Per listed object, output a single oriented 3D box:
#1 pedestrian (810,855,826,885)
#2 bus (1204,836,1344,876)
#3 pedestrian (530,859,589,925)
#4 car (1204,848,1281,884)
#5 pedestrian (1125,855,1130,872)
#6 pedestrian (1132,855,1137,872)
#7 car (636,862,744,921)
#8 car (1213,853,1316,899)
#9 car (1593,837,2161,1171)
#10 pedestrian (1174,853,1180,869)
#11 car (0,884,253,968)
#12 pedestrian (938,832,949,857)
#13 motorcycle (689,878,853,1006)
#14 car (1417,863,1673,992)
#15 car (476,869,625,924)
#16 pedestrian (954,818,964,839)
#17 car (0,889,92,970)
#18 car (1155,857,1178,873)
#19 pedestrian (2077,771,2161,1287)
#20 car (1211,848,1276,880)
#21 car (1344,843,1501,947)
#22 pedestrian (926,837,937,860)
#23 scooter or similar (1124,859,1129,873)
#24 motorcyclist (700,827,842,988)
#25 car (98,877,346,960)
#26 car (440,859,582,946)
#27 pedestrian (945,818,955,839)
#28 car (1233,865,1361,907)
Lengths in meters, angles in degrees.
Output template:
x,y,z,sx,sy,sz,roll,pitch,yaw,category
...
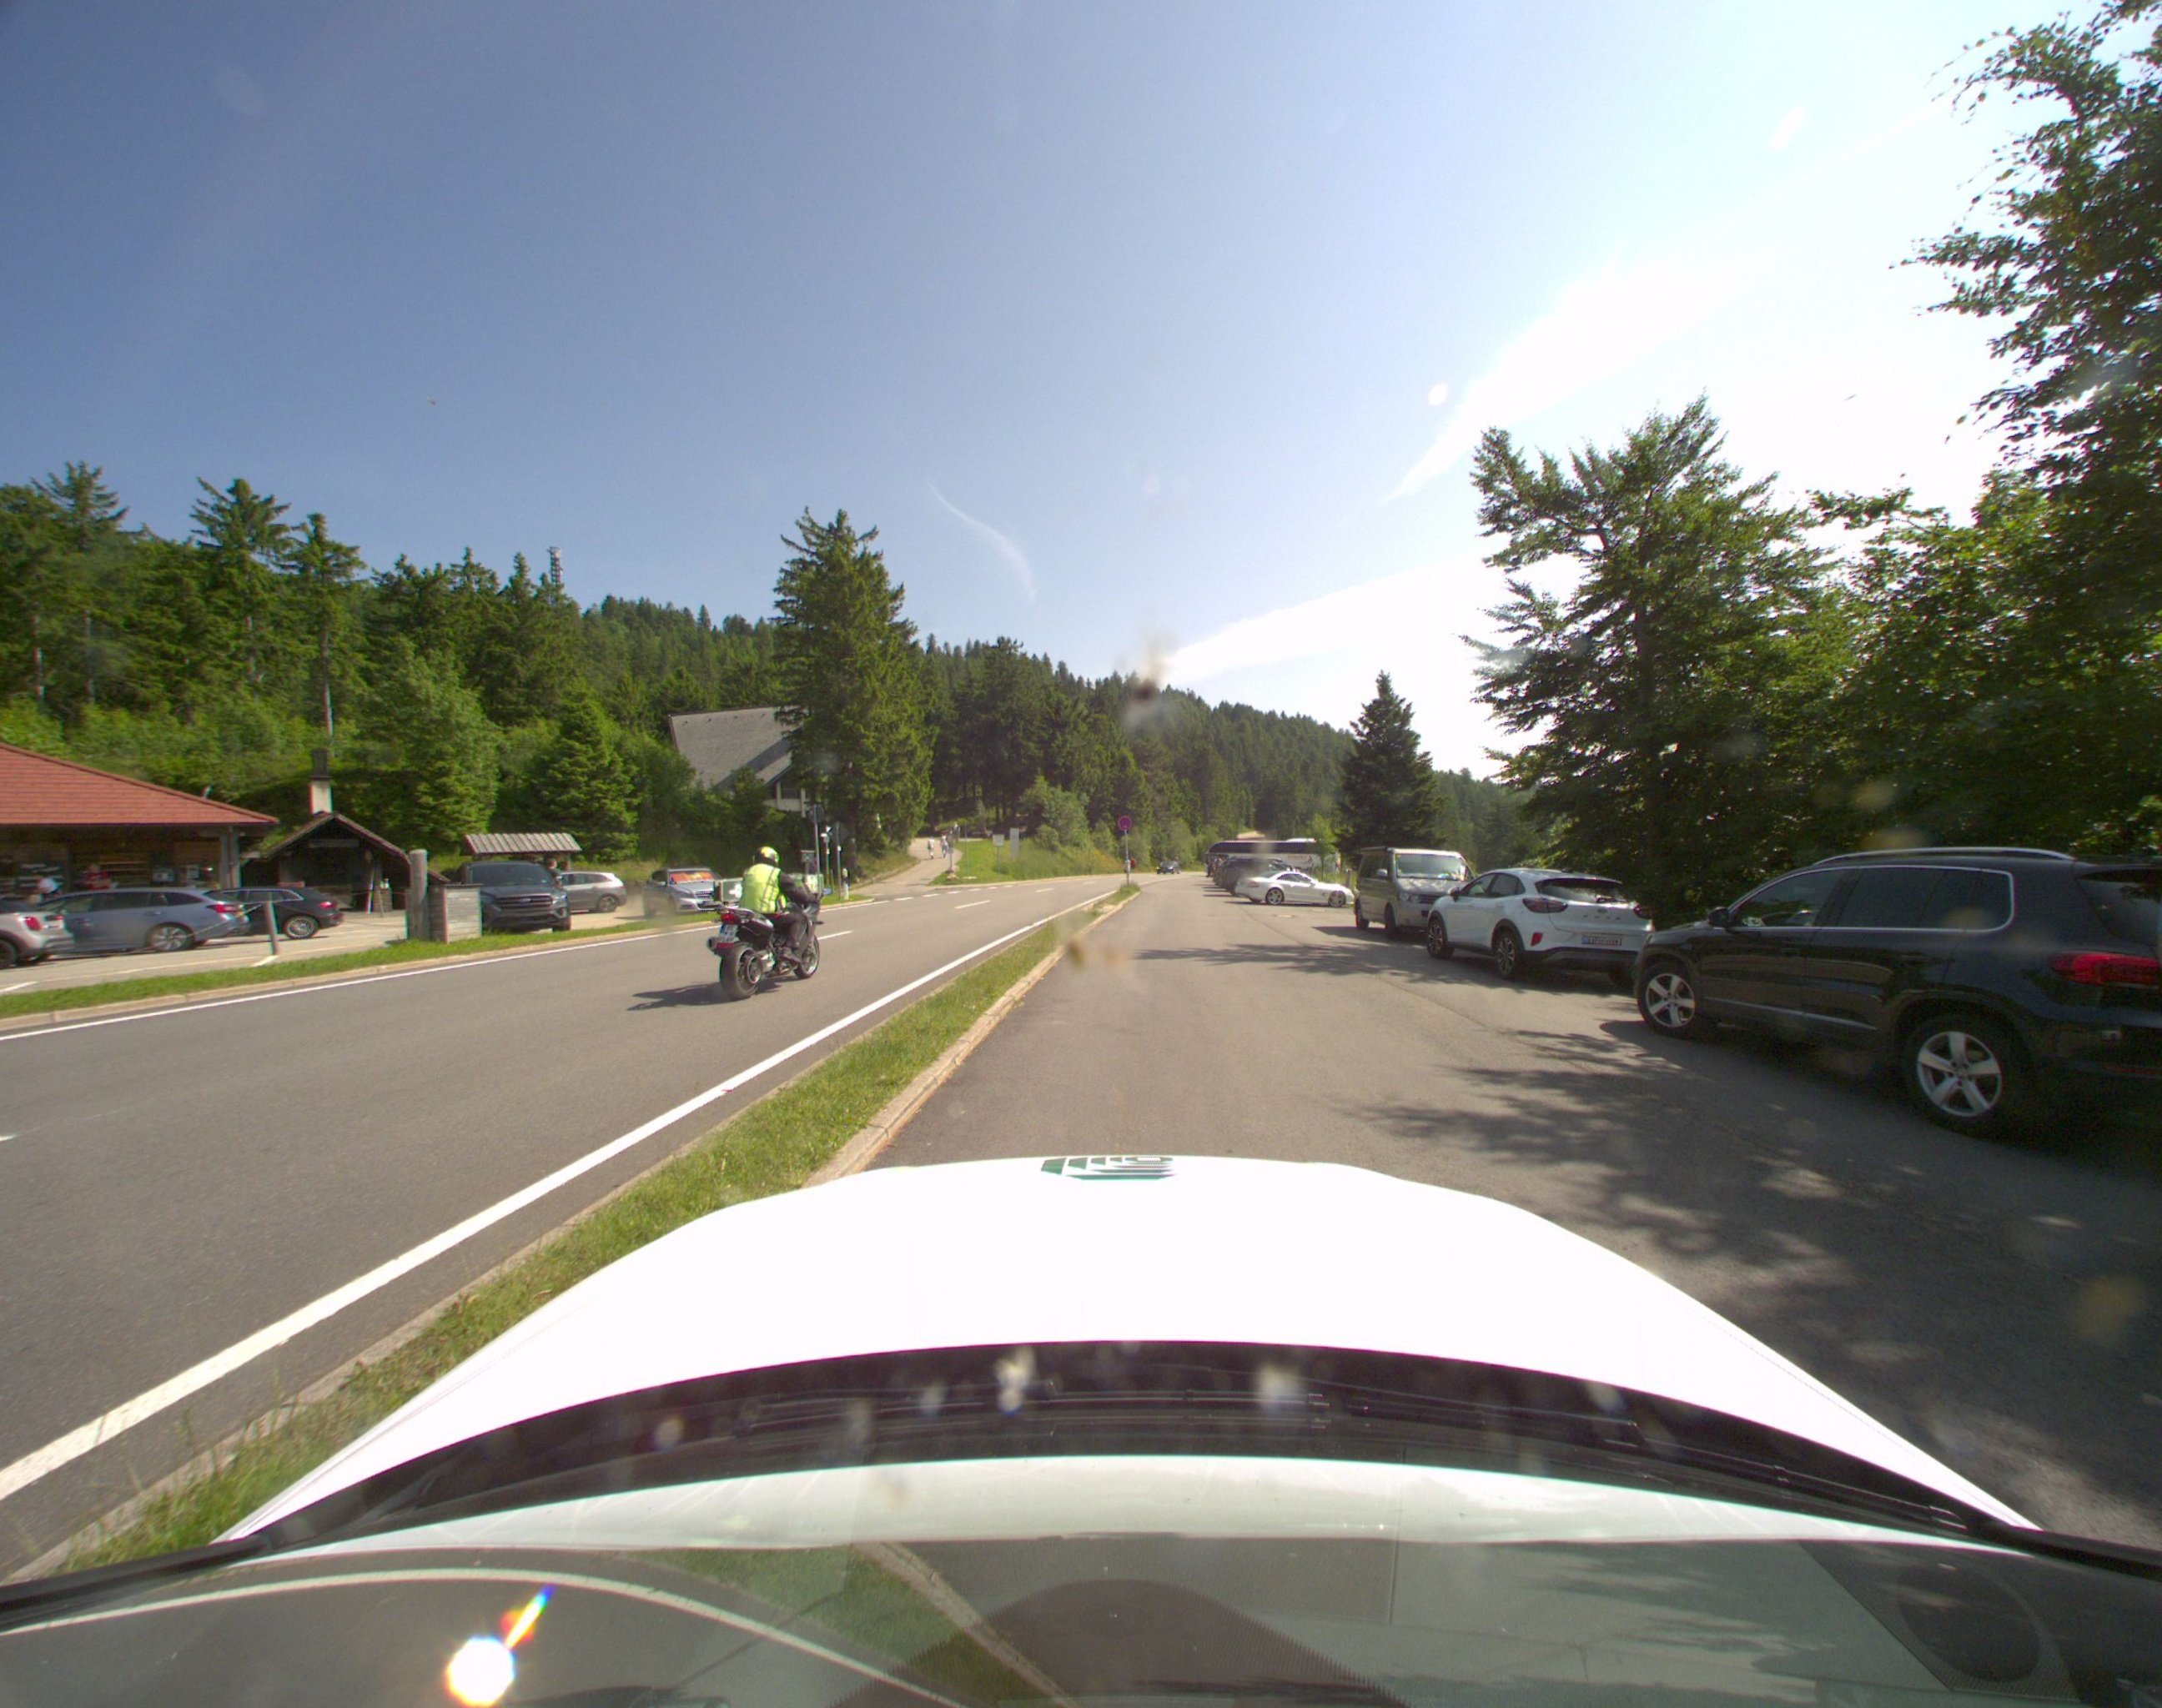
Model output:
x,y,z,sx,sy,sz,roll,pitch,yaw,category
-13.935,0.826,43.135,0.574,1.532,0.553,-3,1,5,pedestrian
18.478,0.212,78.393,12.749,3.577,2.998,-1,2,21,bus
-14.611,1.056,22.834,0.892,1.734,0.962,-3,1,5,pedestrian
8.981,0.646,45.551,3.968,1.719,1.871,2,2,5,car
4.940,1.041,86.234,0.413,1.747,0.457,-3,1,5,pedestrian
5.615,1.023,85.589,0.393,1.747,0.406,-3,1,5,pedestrian
-11.347,1.043,23.521,1.753,1.441,3.922,-4,1,-41,car
7.945,0.929,35.540,3.977,1.699,1.999,3,1,-3,car
5.973,0.793,6.156,1.735,1.632,4.314,3,0,5,car
12.591,0.910,106.564,0.729,2.014,0.863,-3,-2,5,pedestrian
-21.221,1.539,17.894,4.021,1.419,1.665,-4,0,-39,car
-10.206,-0.726,60.600,0.651,1.799,0.643,-2,-1,-1,pedestrian
-3.392,0.904,9.204,0.818,1.177,2.289,0,0,5,motorcycle
6.607,0.942,12.158,1.672,1.518,4.053,3,-1,4,car
-18.250,1.399,28.152,1.664,1.494,4.024,1,3,45,car
-11.985,-2.505,80.086,0.813,2.013,0.852,-3,1,-3,pedestrian
-21.353,1.519,14.767,4.020,1.419,1.665,-4,0,-39,car
9.486,1.165,90.073,1.980,1.662,4.014,-1,0,12,car
4.016,0.604,2.836,0.583,1.761,0.627,2,-1,-33,pedestrian
10.422,0.629,52.478,3.965,1.814,1.944,3,2,7,car
7.525,0.811,18.523,1.896,1.972,4.827,3,0,6,car
-10.965,-0.427,59.838,0.651,1.667,0.642,-2,-2,-1,pedestrian
4.774,1.240,85.620,0.480,1.379,0.818,-3,1,5,scooter or similar
-3.430,0.551,9.141,1.021,1.675,1.295,0,0,4,motorcyclist
-21.608,1.533,20.782,4.020,1.617,1.977,-4,2,-38,car
-12.400,0.975,17.612,4.158,1.634,1.800,-2,-1,45,car
-13.007,-2.545,80.656,0.795,2.013,0.939,-3,1,-3,pedestrian
8.178,1.212,30.920,4.455,1.298,1.576,3,0,-11,car
